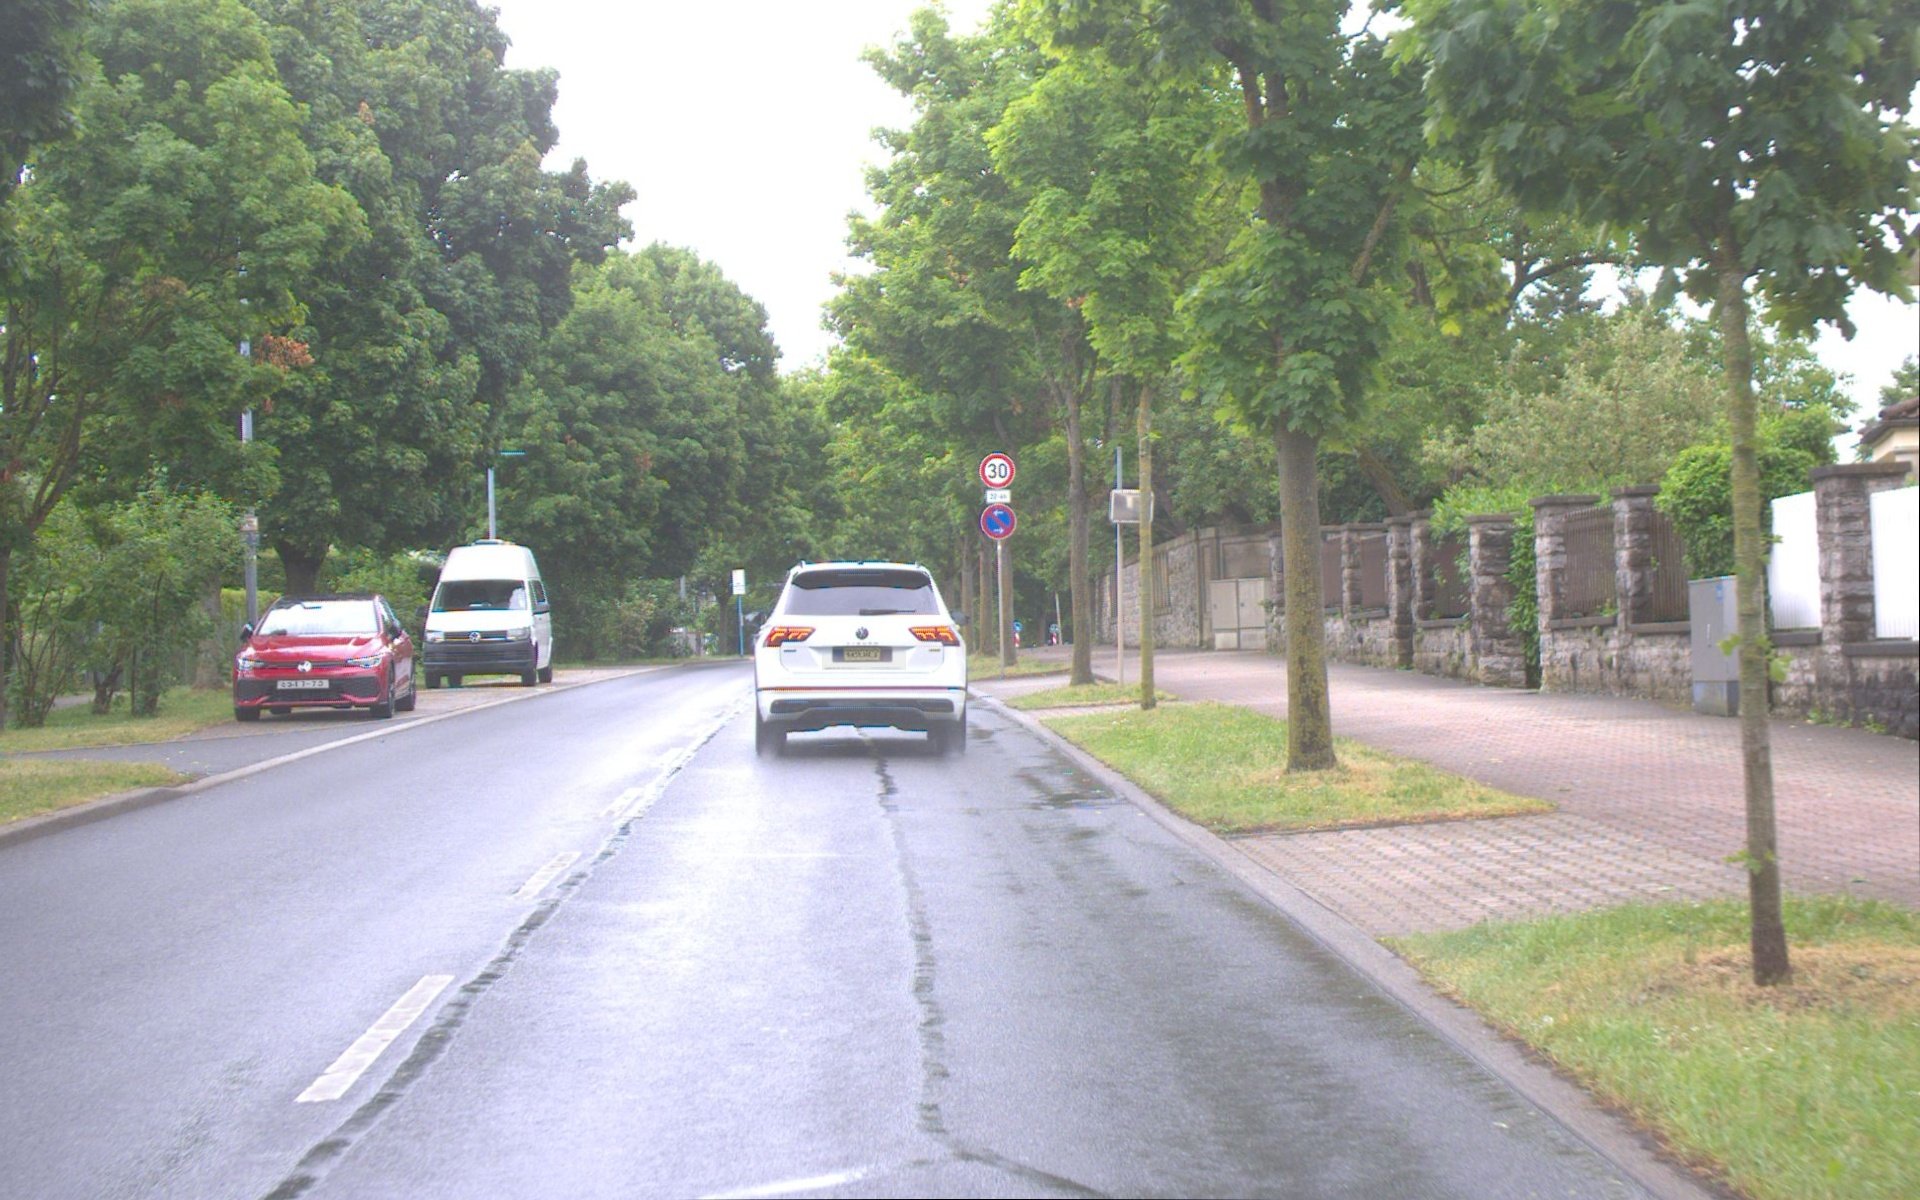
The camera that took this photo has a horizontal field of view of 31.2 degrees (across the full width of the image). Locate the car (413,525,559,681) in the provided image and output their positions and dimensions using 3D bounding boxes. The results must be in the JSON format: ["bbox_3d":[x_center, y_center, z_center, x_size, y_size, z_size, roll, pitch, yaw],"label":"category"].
[{"bbox_3d":[-8.207,0.067,59.919,1.993,2.552,5.233,-1,0,-3],"label":"car"}]

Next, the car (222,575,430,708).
[{"bbox_3d":[-7.384,0.463,40.401,1.843,1.461,4.250,-1,0,-3],"label":"car"}]

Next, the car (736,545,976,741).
[{"bbox_3d":[-0.911,0.332,30.647,1.996,1.626,4.000,0,1,-1],"label":"car"}]
